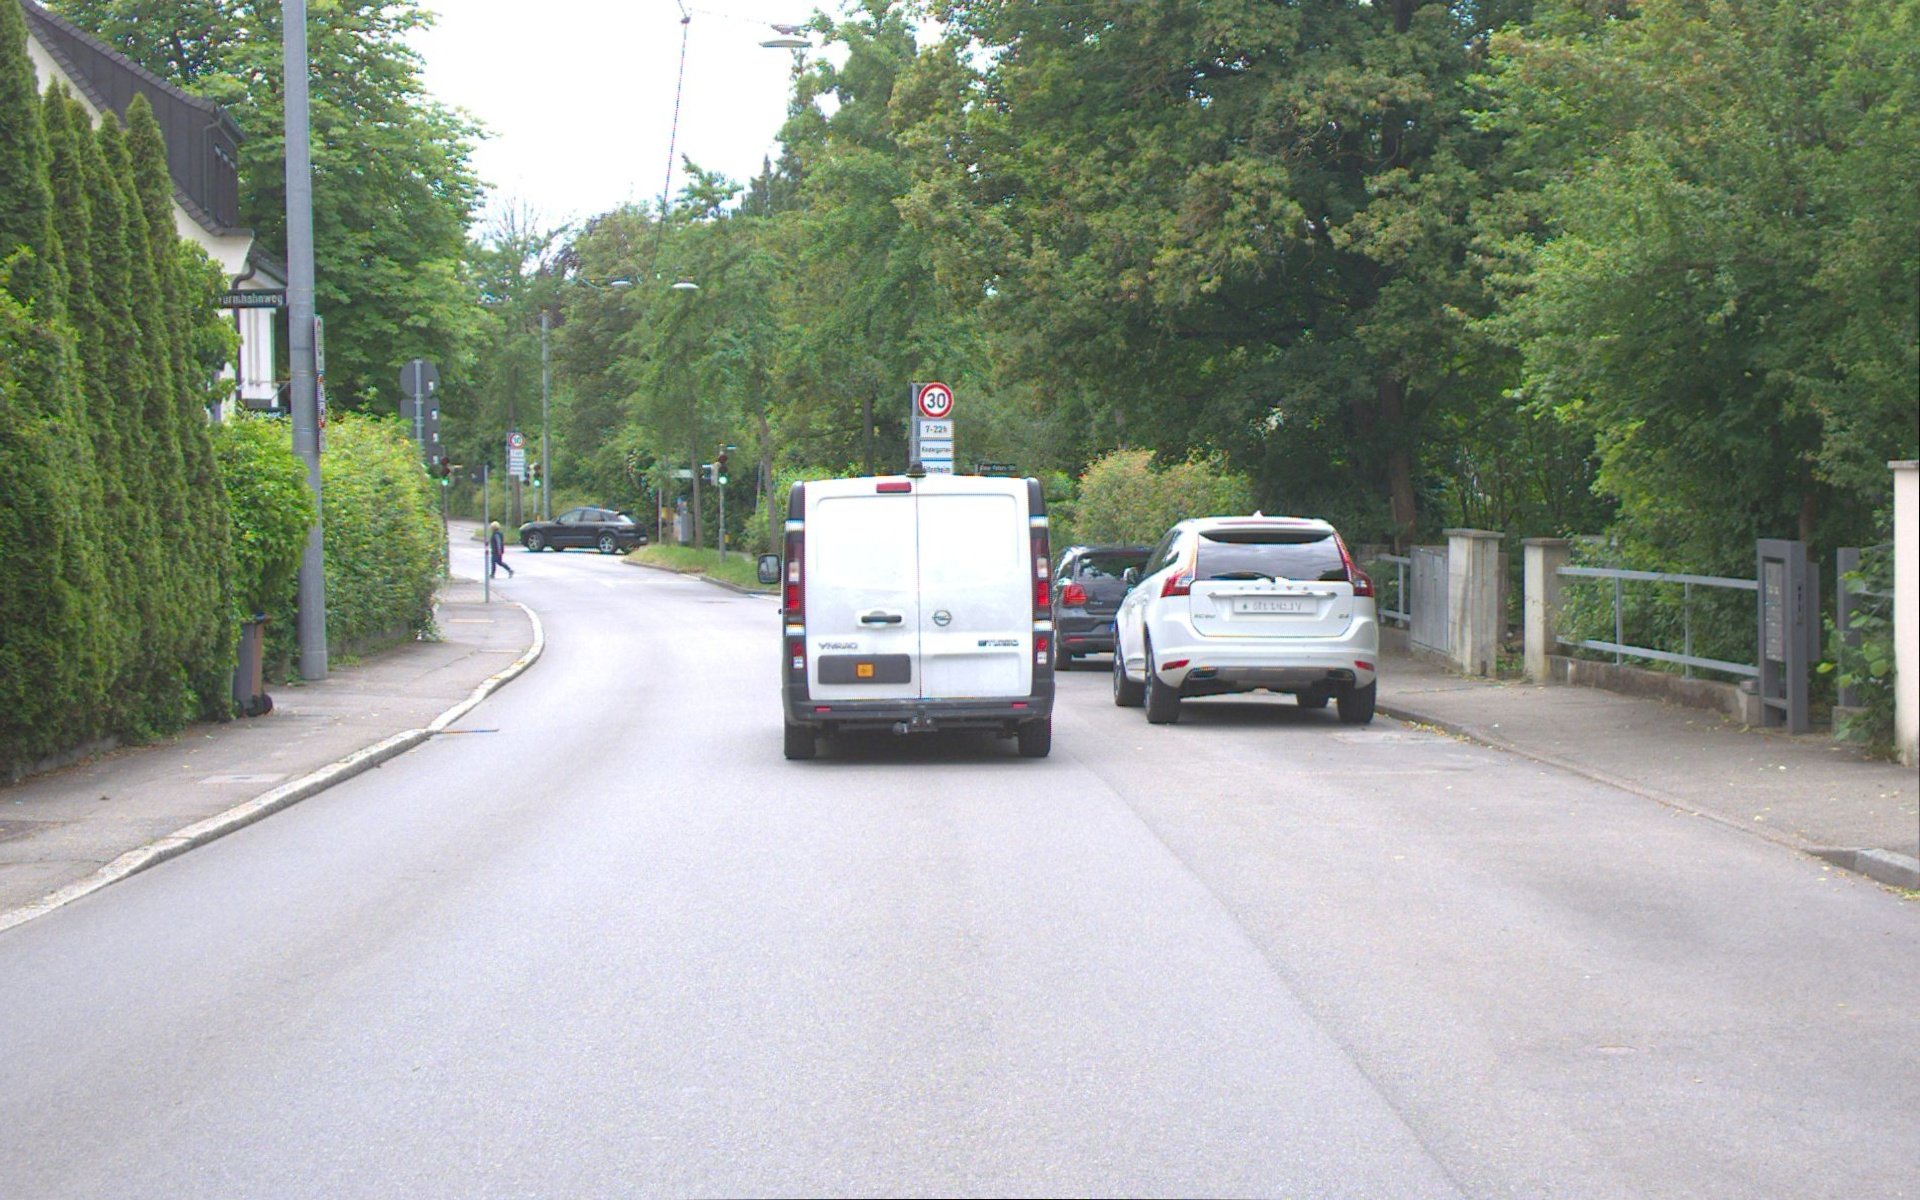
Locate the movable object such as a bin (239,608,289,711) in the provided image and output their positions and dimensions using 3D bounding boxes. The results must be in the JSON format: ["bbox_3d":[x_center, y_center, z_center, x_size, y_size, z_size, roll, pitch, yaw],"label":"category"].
[{"bbox_3d":[-6.198,0.526,30.624,0.336,0.890,0.476,1,1,0],"label":"movable object such as a bin"}]

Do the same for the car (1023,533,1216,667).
[{"bbox_3d":[1.806,-0.035,40.020,1.709,1.482,3.791,0,1,-6],"label":"car"}]

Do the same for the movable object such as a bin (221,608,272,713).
[{"bbox_3d":[-6.217,0.527,29.955,0.336,0.890,0.476,1,1,0],"label":"movable object such as a bin"}]

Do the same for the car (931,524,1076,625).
[{"bbox_3d":[0.605,-0.406,51.321,1.709,1.408,3.791,1,1,-6],"label":"car"}]

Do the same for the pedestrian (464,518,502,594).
[{"bbox_3d":[-10.192,-0.934,73.439,0.706,1.604,0.576,-1,1,-2],"label":"pedestrian"}]

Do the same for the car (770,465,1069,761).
[{"bbox_3d":[-0.390,0.015,24.998,1.929,1.957,4.403,0,2,-4],"label":"car"}]

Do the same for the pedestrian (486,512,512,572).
[{"bbox_3d":[-12.561,-1.588,93.751,0.697,1.610,0.715,0,3,-7],"label":"pedestrian"}]

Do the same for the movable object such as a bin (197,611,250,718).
[{"bbox_3d":[-6.244,0.543,29.148,0.336,0.890,0.476,1,1,0],"label":"movable object such as a bin"}]

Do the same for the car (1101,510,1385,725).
[{"bbox_3d":[2.307,0.095,29.112,1.865,1.679,4.351,0,1,-2],"label":"car"}]

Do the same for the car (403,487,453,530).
[{"bbox_3d":[-21.705,-3.742,140.434,1.825,1.722,4.001,0,2,-6],"label":"car"}]
